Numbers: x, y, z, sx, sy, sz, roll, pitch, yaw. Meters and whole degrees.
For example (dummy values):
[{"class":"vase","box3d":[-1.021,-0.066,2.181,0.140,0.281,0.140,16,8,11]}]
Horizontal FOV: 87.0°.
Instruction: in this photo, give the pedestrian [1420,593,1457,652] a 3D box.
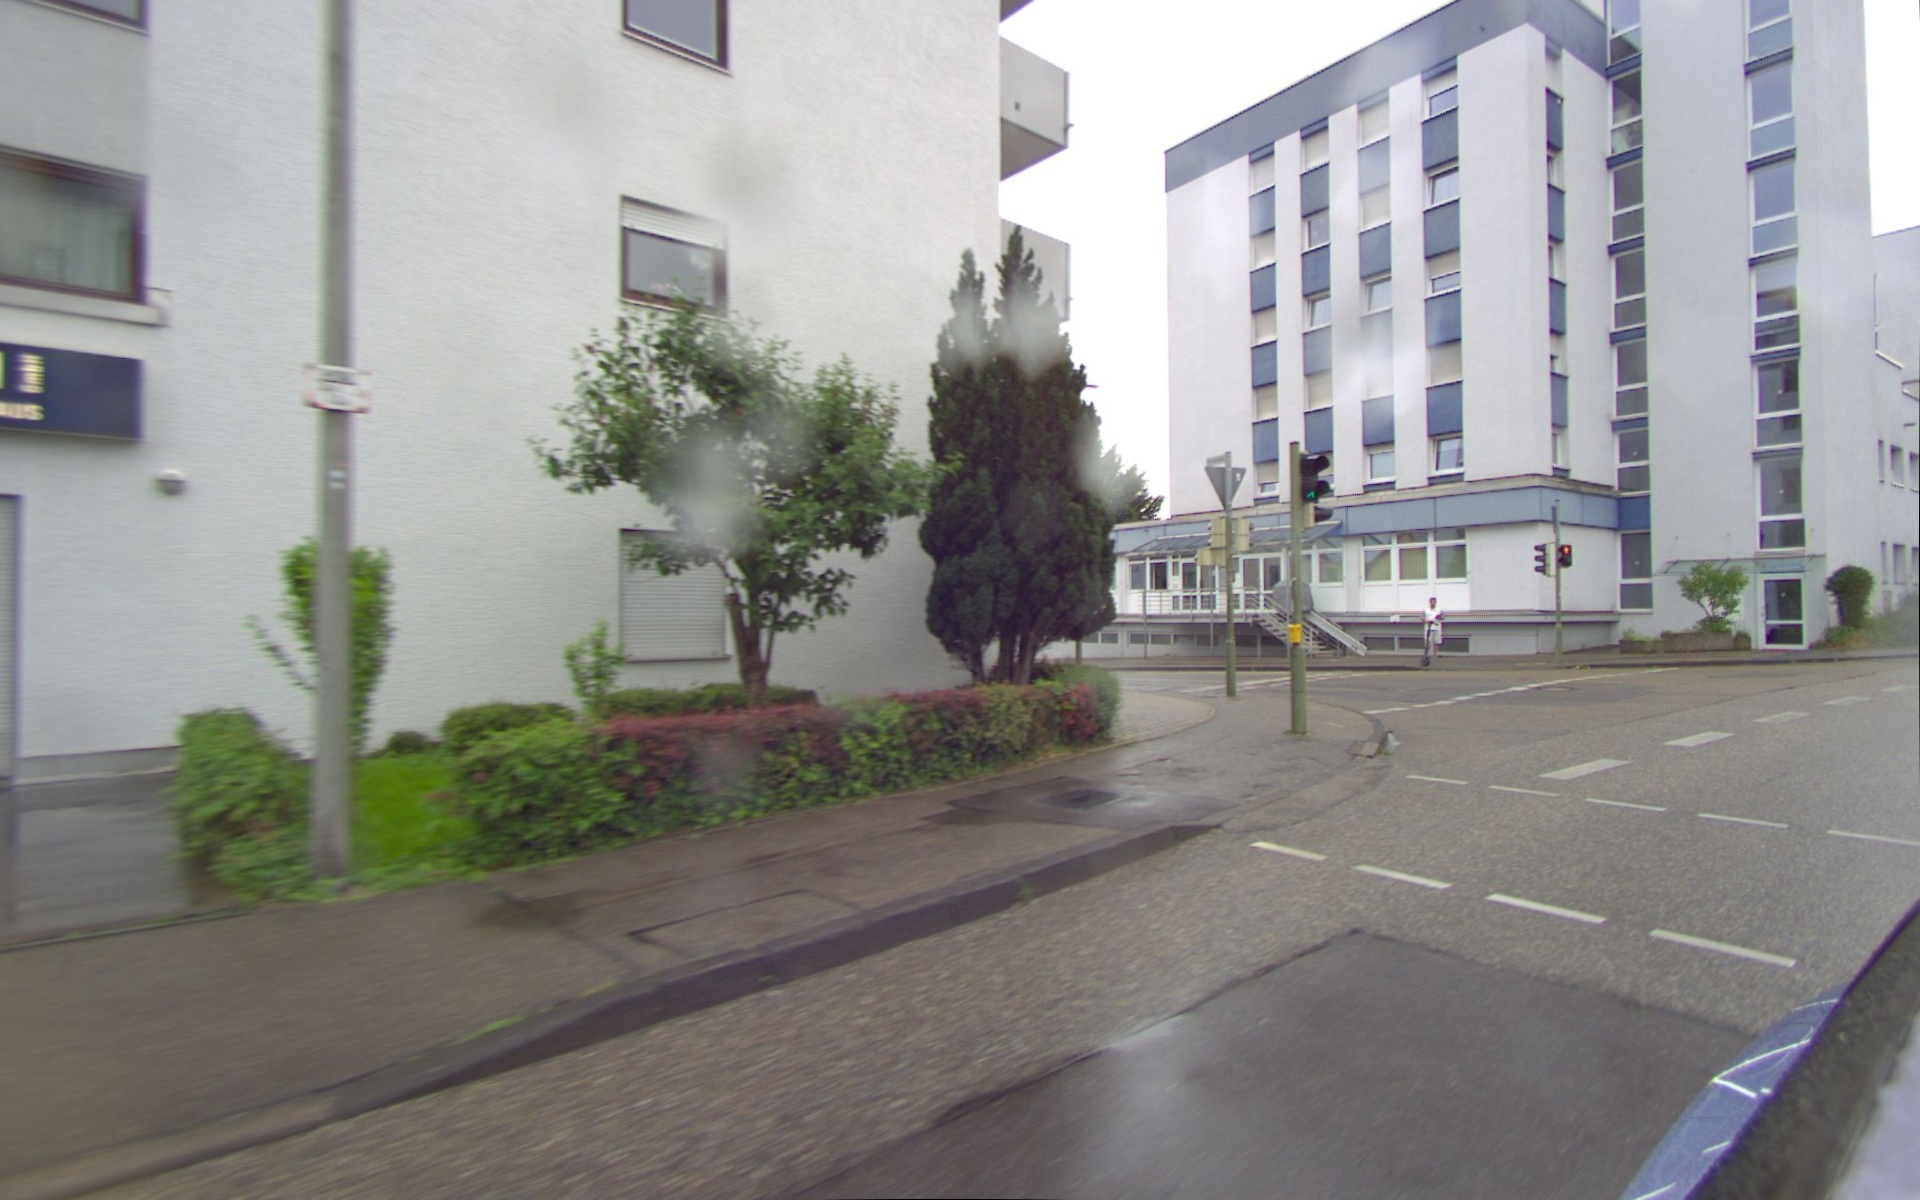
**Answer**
[{"class":"pedestrian","box3d":[14.030,0.647,29.681,0.644,1.673,0.645,0,-5,-37]}]

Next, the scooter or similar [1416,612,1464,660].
[{"class":"scooter or similar","box3d":[12.985,0.968,27.358,0.798,1.244,1.045,-7,-5,43]}]
